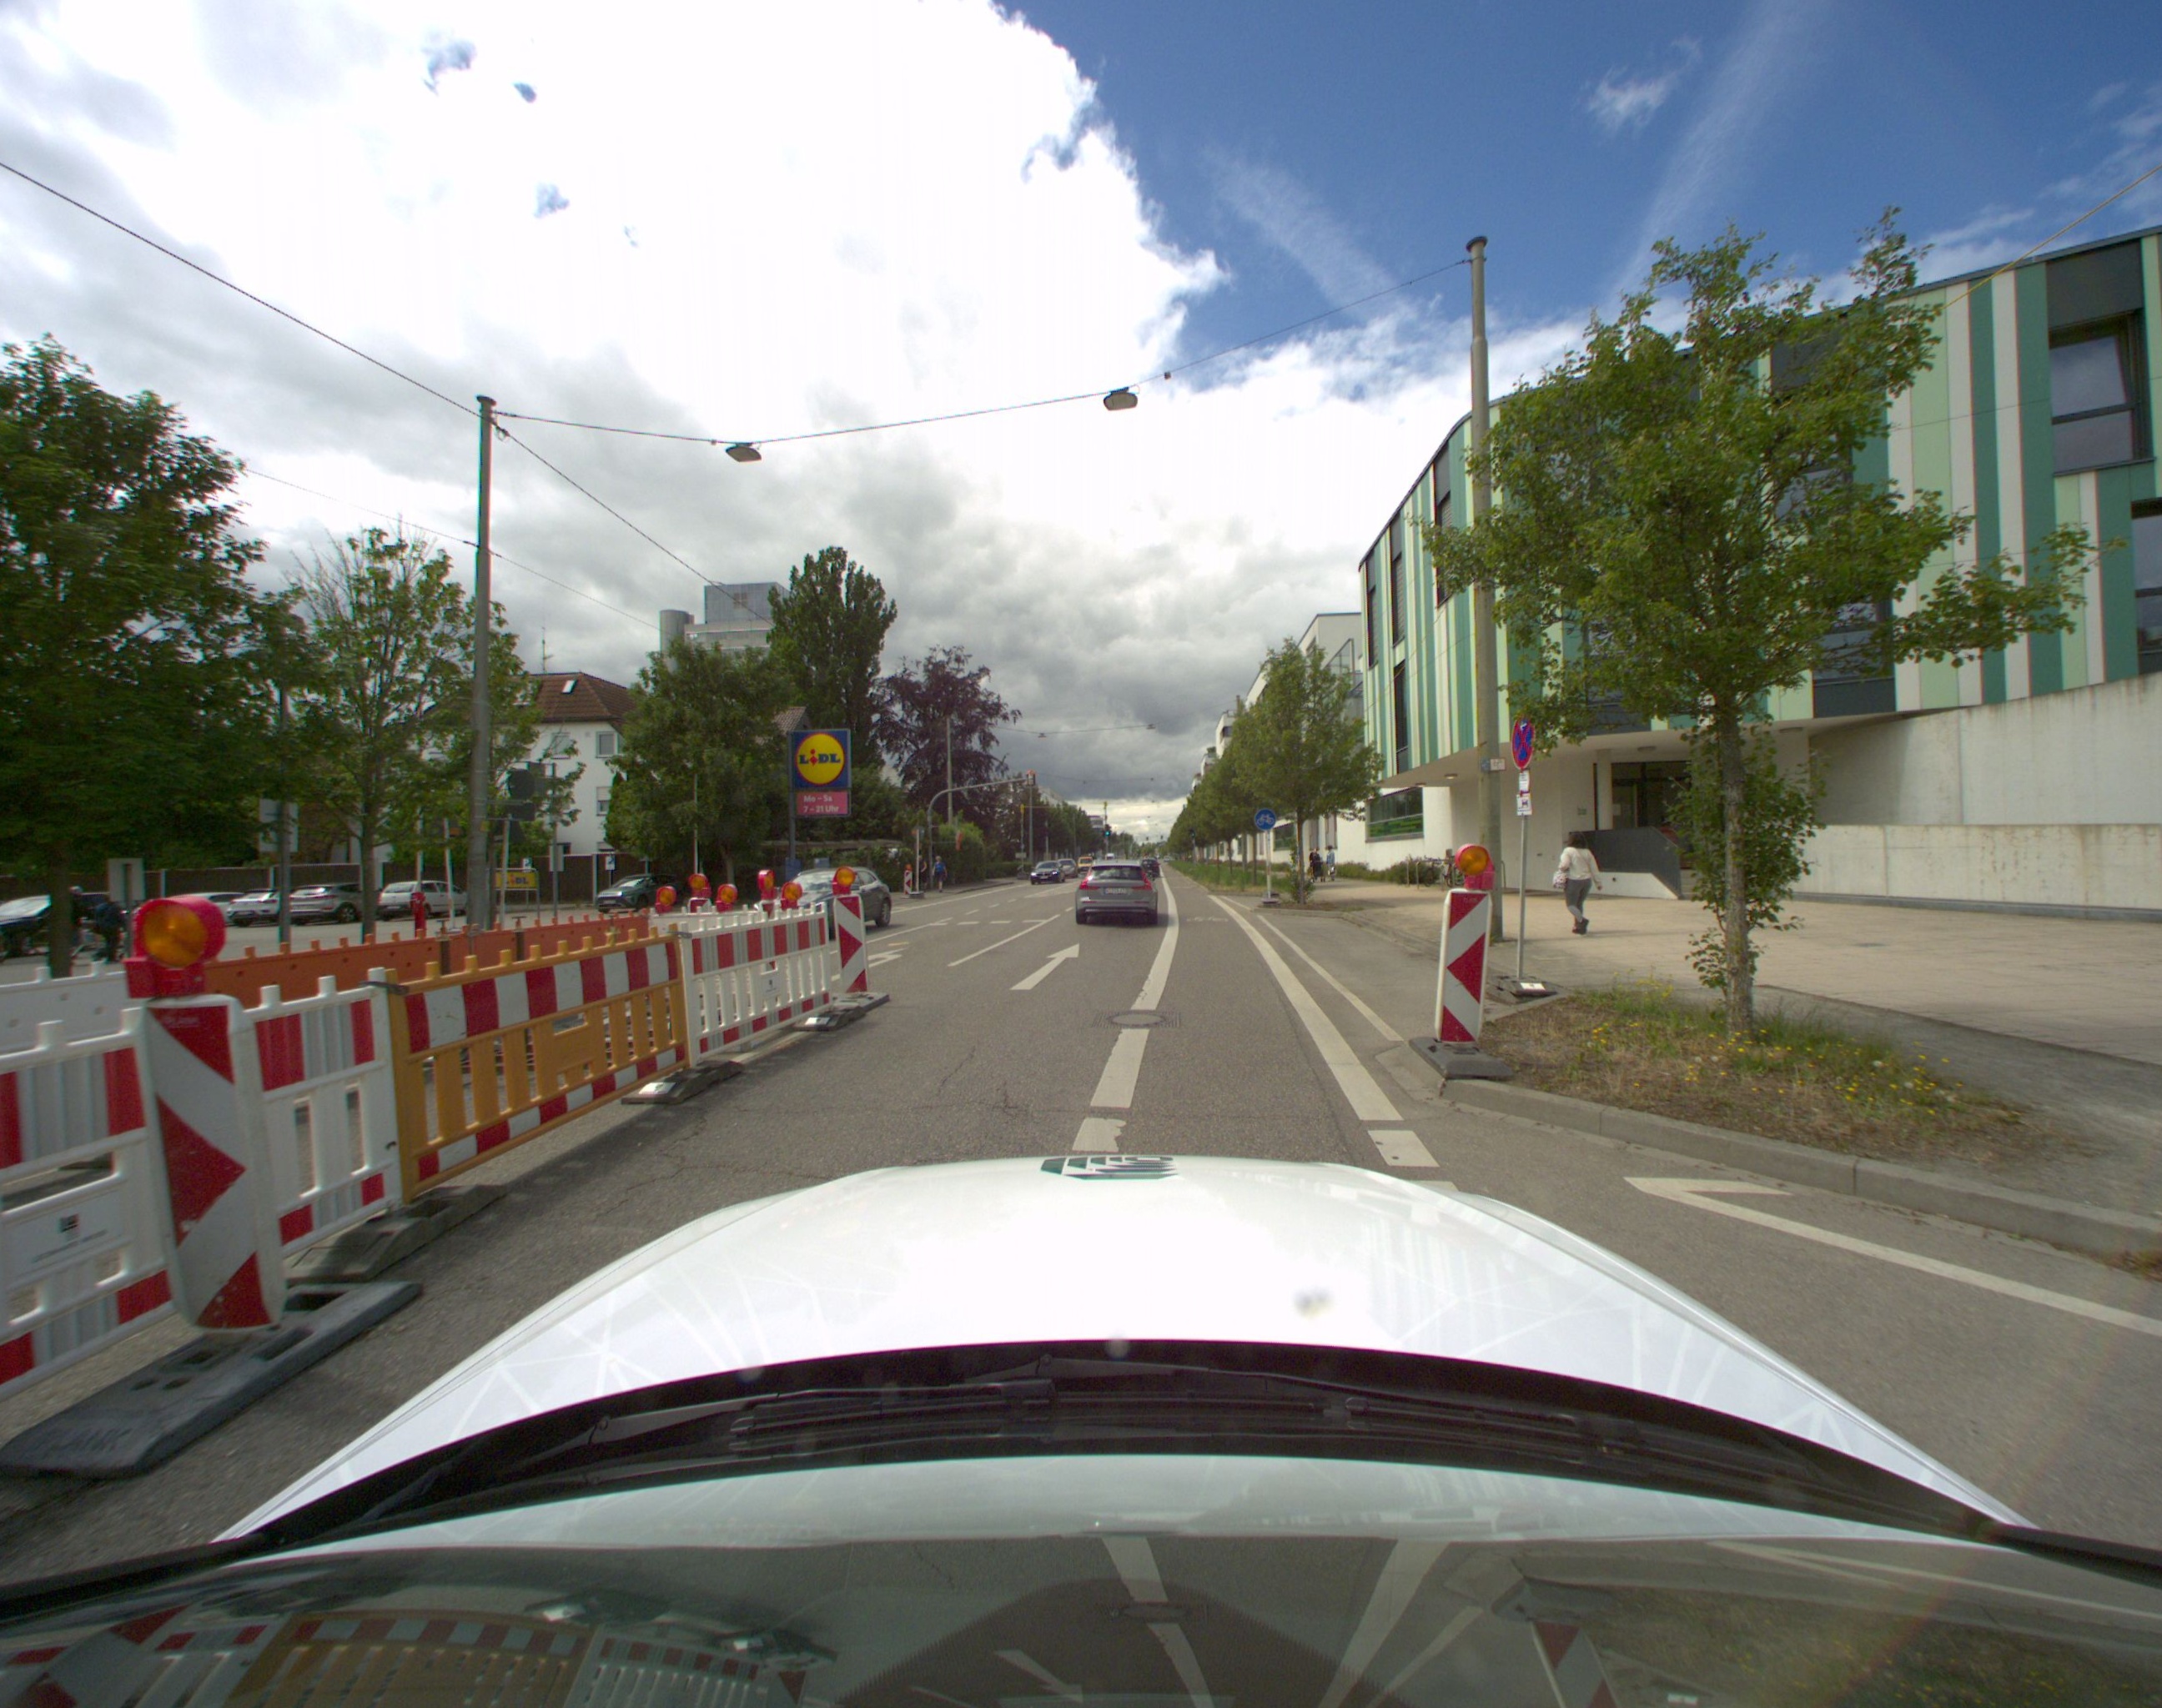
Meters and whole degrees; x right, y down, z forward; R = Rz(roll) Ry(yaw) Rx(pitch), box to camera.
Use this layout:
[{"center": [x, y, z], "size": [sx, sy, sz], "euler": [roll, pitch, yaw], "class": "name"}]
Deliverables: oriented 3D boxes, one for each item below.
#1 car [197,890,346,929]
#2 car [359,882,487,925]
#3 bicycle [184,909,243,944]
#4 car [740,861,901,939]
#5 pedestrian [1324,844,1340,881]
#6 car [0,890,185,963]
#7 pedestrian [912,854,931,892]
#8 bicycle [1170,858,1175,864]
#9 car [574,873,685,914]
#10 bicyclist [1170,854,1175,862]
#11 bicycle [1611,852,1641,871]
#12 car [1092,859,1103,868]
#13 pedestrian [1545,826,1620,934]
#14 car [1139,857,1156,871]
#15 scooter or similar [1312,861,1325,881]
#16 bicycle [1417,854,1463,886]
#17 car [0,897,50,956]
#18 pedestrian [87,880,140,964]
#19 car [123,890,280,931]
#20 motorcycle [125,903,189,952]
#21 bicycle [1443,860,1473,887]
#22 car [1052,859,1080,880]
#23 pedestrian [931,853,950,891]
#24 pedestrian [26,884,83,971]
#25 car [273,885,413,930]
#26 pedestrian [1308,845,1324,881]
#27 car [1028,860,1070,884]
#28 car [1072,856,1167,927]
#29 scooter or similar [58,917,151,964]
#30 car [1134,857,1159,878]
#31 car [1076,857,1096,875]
[{"center": [-32.937, 2.206, 33.315], "size": [1.986, 1.288, 4.001], "euler": [-2, -1, 1], "class": "car"}, {"center": [-27.415, 2.029, 34.128], "size": [1.986, 1.552, 4.001], "euler": [-2, -1, 1], "class": "car"}, {"center": [-25.113, 2.105, 23.569], "size": [1.641, 0.957, 0.314], "euler": [-2, -1, 10], "class": "bicycle"}, {"center": [-5.765, 0.957, 18.588], "size": [1.843, 1.513, 4.010], "euler": [-2, -1, 9], "class": "car"}, {"center": [11.593, 0.387, 37.588], "size": [0.547, 1.655, 0.608], "euler": [-2, -1, 4], "class": "pedestrian"}, {"center": [-28.524, 1.990, 22.909], "size": [1.984, 1.695, 4.005], "euler": [-2, -1, 5], "class": "car"}, {"center": [-8.009, 0.951, 40.856], "size": [0.678, 1.854, 0.707], "euler": [-2, -1, 5], "class": "pedestrian"}, {"center": [22.291, 1.772, 197.630], "size": [1.062, 1.453, 2.981], "euler": [-3, -1, 4], "class": "bicycle"}, {"center": [-18.302, 1.547, 33.232], "size": [1.984, 1.453, 4.005], "euler": [-2, -1, 5], "class": "car"}, {"center": [22.263, 0.992, 197.744], "size": [1.009, 2.014, 1.132], "euler": [-3, -1, 4], "class": "bicyclist"}, {"center": [13.525, 0.180, 20.224], "size": [0.304, 0.452, 0.801], "euler": [-2, -1, 11], "class": "bicycle"}, {"center": [2.993, 1.645, 143.644], "size": [1.653, 1.515, 4.005], "euler": [-1, 0, 5], "class": "car"}, {"center": [7.578, 0.383, 12.341], "size": [0.578, 1.551, 0.870], "euler": [-2, -1, 5], "class": "pedestrian"}, {"center": [7.407, 1.127, 90.899], "size": [1.836, 1.513, 4.005], "euler": [-1, 0, 4], "class": "car"}, {"center": [10.965, 0.794, 37.581], "size": [0.419, 0.905, 0.683], "euler": [-2, -1, 5], "class": "scooter or similar"}, {"center": [12.336, 0.542, 27.971], "size": [1.463, 1.046, 0.306], "euler": [-2, -1, -8], "class": "bicycle"}, {"center": [-32.964, 2.195, 23.176], "size": [1.984, 1.695, 4.005], "euler": [-2, -1, 5], "class": "car"}, {"center": [-22.066, 1.527, 18.587], "size": [0.419, 1.859, 0.612], "euler": [-2, -1, 2], "class": "pedestrian"}, {"center": [-35.891, 2.264, 33.410], "size": [1.986, 1.398, 4.001], "euler": [-2, -1, 1], "class": "car"}, {"center": [-25.196, 1.986, 22.242], "size": [0.866, 1.193, 1.932], "euler": [-2, -1, -41], "class": "motorcycle"}, {"center": [12.450, 0.629, 26.889], "size": [1.027, 0.842, 0.304], "euler": [-2, -1, -28], "class": "bicycle"}, {"center": [-1.211, 1.209, 66.067], "size": [1.741, 1.555, 4.408], "euler": [-2, 0, 5], "class": "car"}, {"center": [-7.052, 0.912, 40.808], "size": [0.678, 1.854, 0.893], "euler": [-2, -1, 5], "class": "pedestrian"}, {"center": [-22.659, 1.603, 17.985], "size": [0.419, 1.859, 0.612], "euler": [-2, -1, 2], "class": "pedestrian"}, {"center": [-30.031, 2.140, 33.315], "size": [1.986, 1.552, 4.001], "euler": [-2, -1, 1], "class": "car"}, {"center": [10.999, 0.423, 38.118], "size": [0.602, 1.655, 0.552], "euler": [-2, -1, 4], "class": "pedestrian"}, {"center": [-2.016, 1.122, 52.758], "size": [1.984, 1.400, 4.817], "euler": [-4, -1, 5], "class": "car"}, {"center": [1.029, 0.810, 19.571], "size": [1.843, 1.513, 4.010], "euler": [0, 0, 9], "class": "car"}, {"center": [-22.648, 1.984, 18.916], "size": [0.651, 0.943, 1.230], "euler": [-2, -1, 2], "class": "scooter or similar"}, {"center": [5.091, 1.013, 63.299], "size": [1.846, 1.513, 4.005], "euler": [-1, 0, 4], "class": "car"}, {"center": [0.589, 1.294, 90.761], "size": [1.832, 1.905, 4.692], "euler": [-2, -1, 5], "class": "car"}]
